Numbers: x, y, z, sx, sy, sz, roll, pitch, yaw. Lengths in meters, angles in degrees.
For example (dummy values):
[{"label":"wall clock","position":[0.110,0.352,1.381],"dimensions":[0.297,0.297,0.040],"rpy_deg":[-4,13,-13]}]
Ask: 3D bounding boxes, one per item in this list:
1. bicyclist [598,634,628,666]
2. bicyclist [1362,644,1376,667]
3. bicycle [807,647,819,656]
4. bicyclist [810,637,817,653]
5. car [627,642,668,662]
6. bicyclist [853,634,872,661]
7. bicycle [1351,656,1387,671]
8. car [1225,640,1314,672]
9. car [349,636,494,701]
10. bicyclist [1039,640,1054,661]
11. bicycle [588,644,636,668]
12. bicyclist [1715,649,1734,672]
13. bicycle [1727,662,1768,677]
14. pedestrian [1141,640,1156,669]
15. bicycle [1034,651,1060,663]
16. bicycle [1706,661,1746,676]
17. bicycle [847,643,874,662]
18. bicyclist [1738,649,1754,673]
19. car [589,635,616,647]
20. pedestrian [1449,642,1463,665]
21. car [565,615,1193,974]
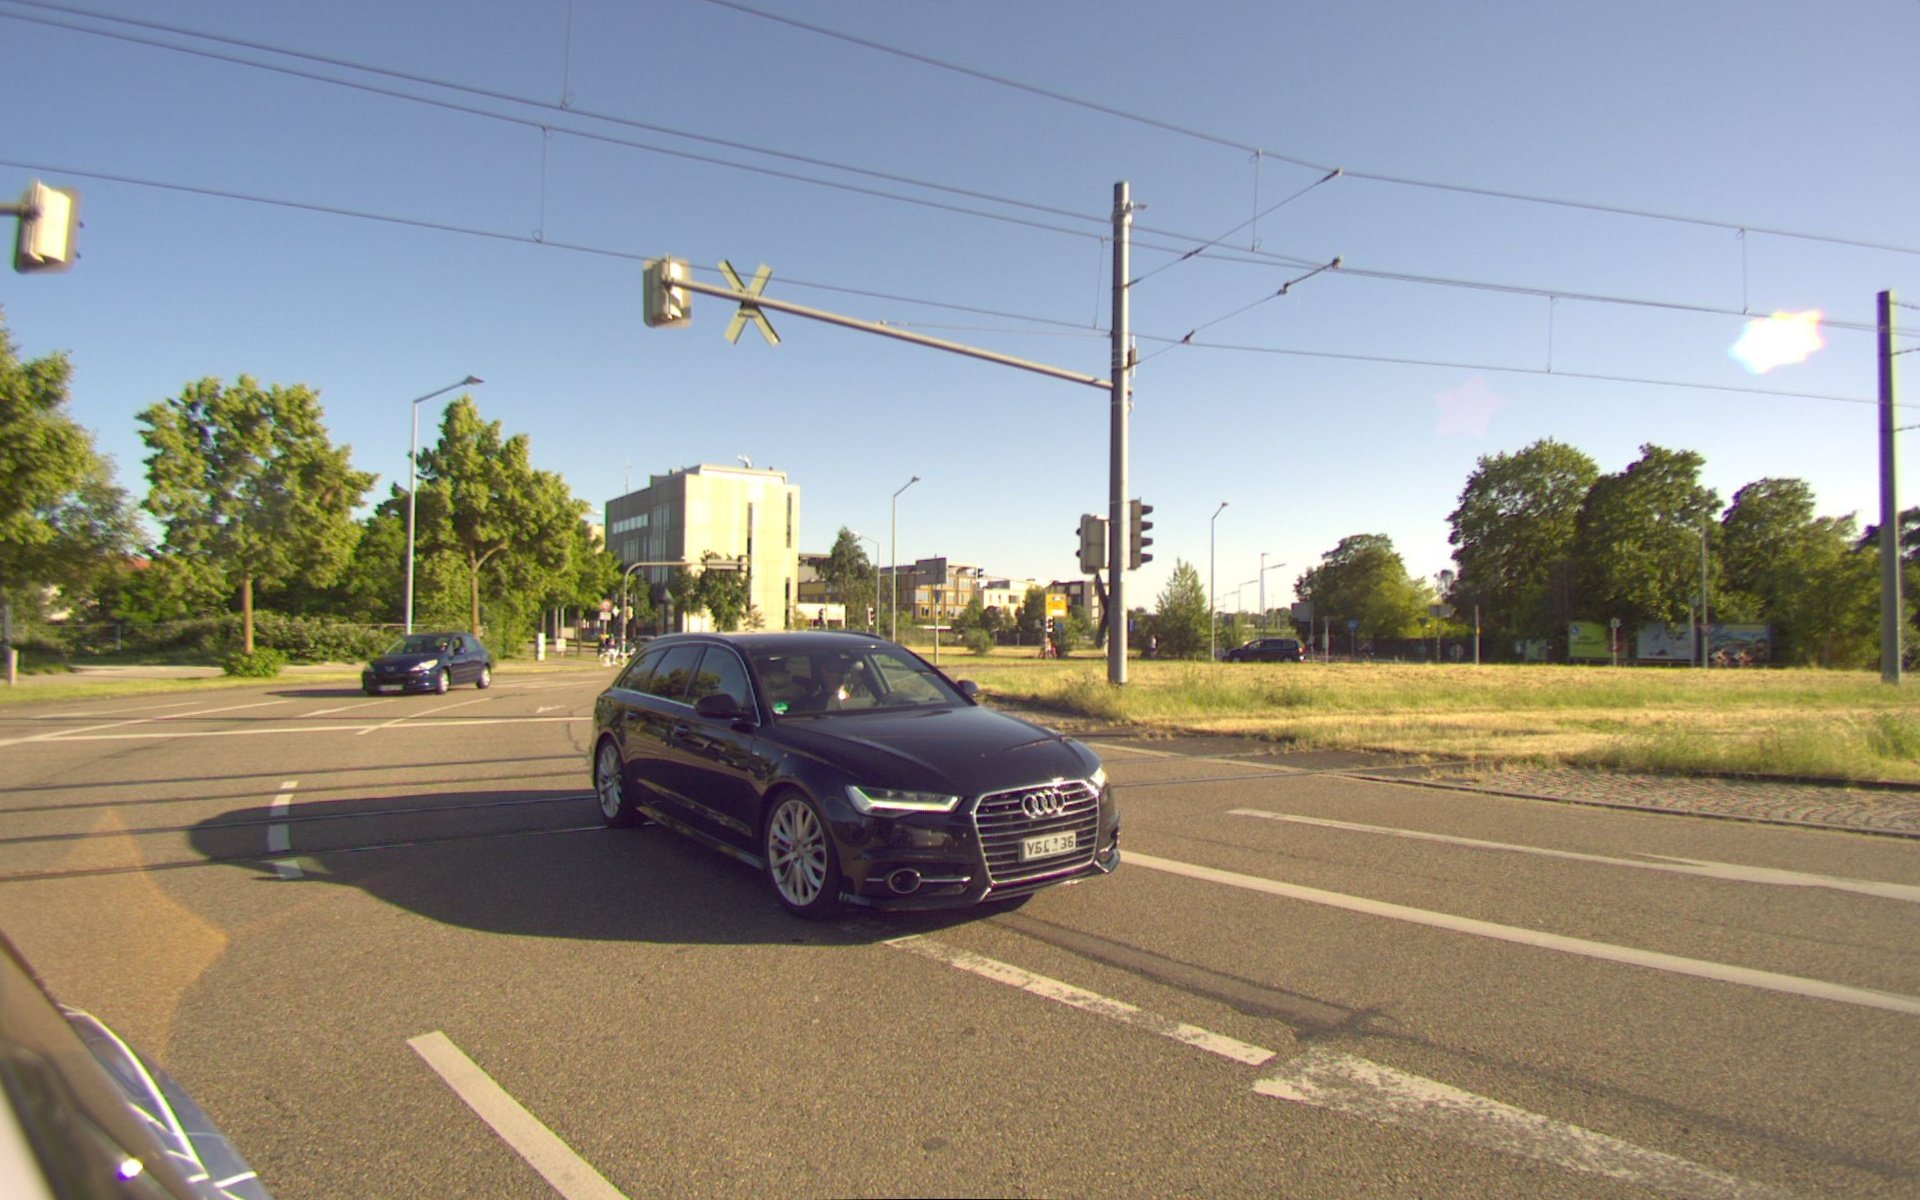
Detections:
[{"label":"bicyclist","position":[-17.652,2.525,51.477],"dimensions":[0.873,1.574,1.076],"rpy_deg":[1,-3,32]},{"label":"bicyclist","position":[28.959,3.924,71.674],"dimensions":[0.826,1.592,0.660],"rpy_deg":[0,-2,10]},{"label":"bicycle","position":[-15.348,5.377,105.524],"dimensions":[0.483,0.859,1.894],"rpy_deg":[2,-3,-31]},{"label":"bicyclist","position":[-15.262,4.687,105.431],"dimensions":[0.425,1.576,0.854],"rpy_deg":[2,-3,-31]},{"label":"car","position":[-22.842,3.779,73.873],"dimensions":[1.904,1.390,4.551],"rpy_deg":[1,-2,-29]},{"label":"bicyclist","position":[-6.036,2.959,62.973],"dimensions":[0.929,1.676,0.705],"rpy_deg":[2,-2,-45]},{"label":"bicycle","position":[28.944,4.515,71.679],"dimensions":[2.238,0.995,0.660],"rpy_deg":[0,-2,11]},{"label":"car","position":[18.333,3.310,60.069],"dimensions":[4.972,1.798,2.448],"rpy_deg":[0,-2,18]},{"label":"car","position":[-13.141,1.651,24.970],"dimensions":[1.731,1.465,4.004],"rpy_deg":[0,-3,-5]},{"label":"bicyclist","position":[6.120,3.569,71.687],"dimensions":[0.909,1.529,0.619],"rpy_deg":[2,-3,-29]},{"label":"bicycle","position":[-17.669,2.856,51.441],"dimensions":[0.873,1.164,2.193],"rpy_deg":[1,-3,31]},{"label":"bicyclist","position":[46.829,3.694,61.994],"dimensions":[0.837,1.403,0.609],"rpy_deg":[-2,-3,42]},{"label":"bicycle","position":[47.179,4.160,60.628],"dimensions":[1.888,0.859,0.609],"rpy_deg":[-2,-3,42]},{"label":"pedestrian","position":[13.407,3.879,72.037],"dimensions":[0.931,2.021,0.588],"rpy_deg":[0,-3,1]},{"label":"bicycle","position":[6.161,4.038,71.695],"dimensions":[1.856,0.859,0.619],"rpy_deg":[2,-3,-29]},{"label":"bicycle","position":[46.869,4.181,61.926],"dimensions":[1.888,0.859,0.609],"rpy_deg":[-2,-3,42]},{"label":"bicycle","position":[-6.171,3.226,62.819],"dimensions":[1.631,1.137,0.705],"rpy_deg":[2,-2,-45]},{"label":"bicyclist","position":[47.146,3.672,60.691],"dimensions":[0.719,1.403,0.609],"rpy_deg":[-2,-3,42]},{"label":"car","position":[-45.229,5.186,128.009],"dimensions":[1.977,1.553,4.334],"rpy_deg":[2,-3,-37]},{"label":"pedestrian","position":[44.011,4.732,89.748],"dimensions":[0.890,2.029,0.817],"rpy_deg":[1,-2,7]},{"label":"car","position":[-0.998,0.890,6.688],"dimensions":[1.769,1.454,5.028],"rpy_deg":[2,-3,-36]}]
